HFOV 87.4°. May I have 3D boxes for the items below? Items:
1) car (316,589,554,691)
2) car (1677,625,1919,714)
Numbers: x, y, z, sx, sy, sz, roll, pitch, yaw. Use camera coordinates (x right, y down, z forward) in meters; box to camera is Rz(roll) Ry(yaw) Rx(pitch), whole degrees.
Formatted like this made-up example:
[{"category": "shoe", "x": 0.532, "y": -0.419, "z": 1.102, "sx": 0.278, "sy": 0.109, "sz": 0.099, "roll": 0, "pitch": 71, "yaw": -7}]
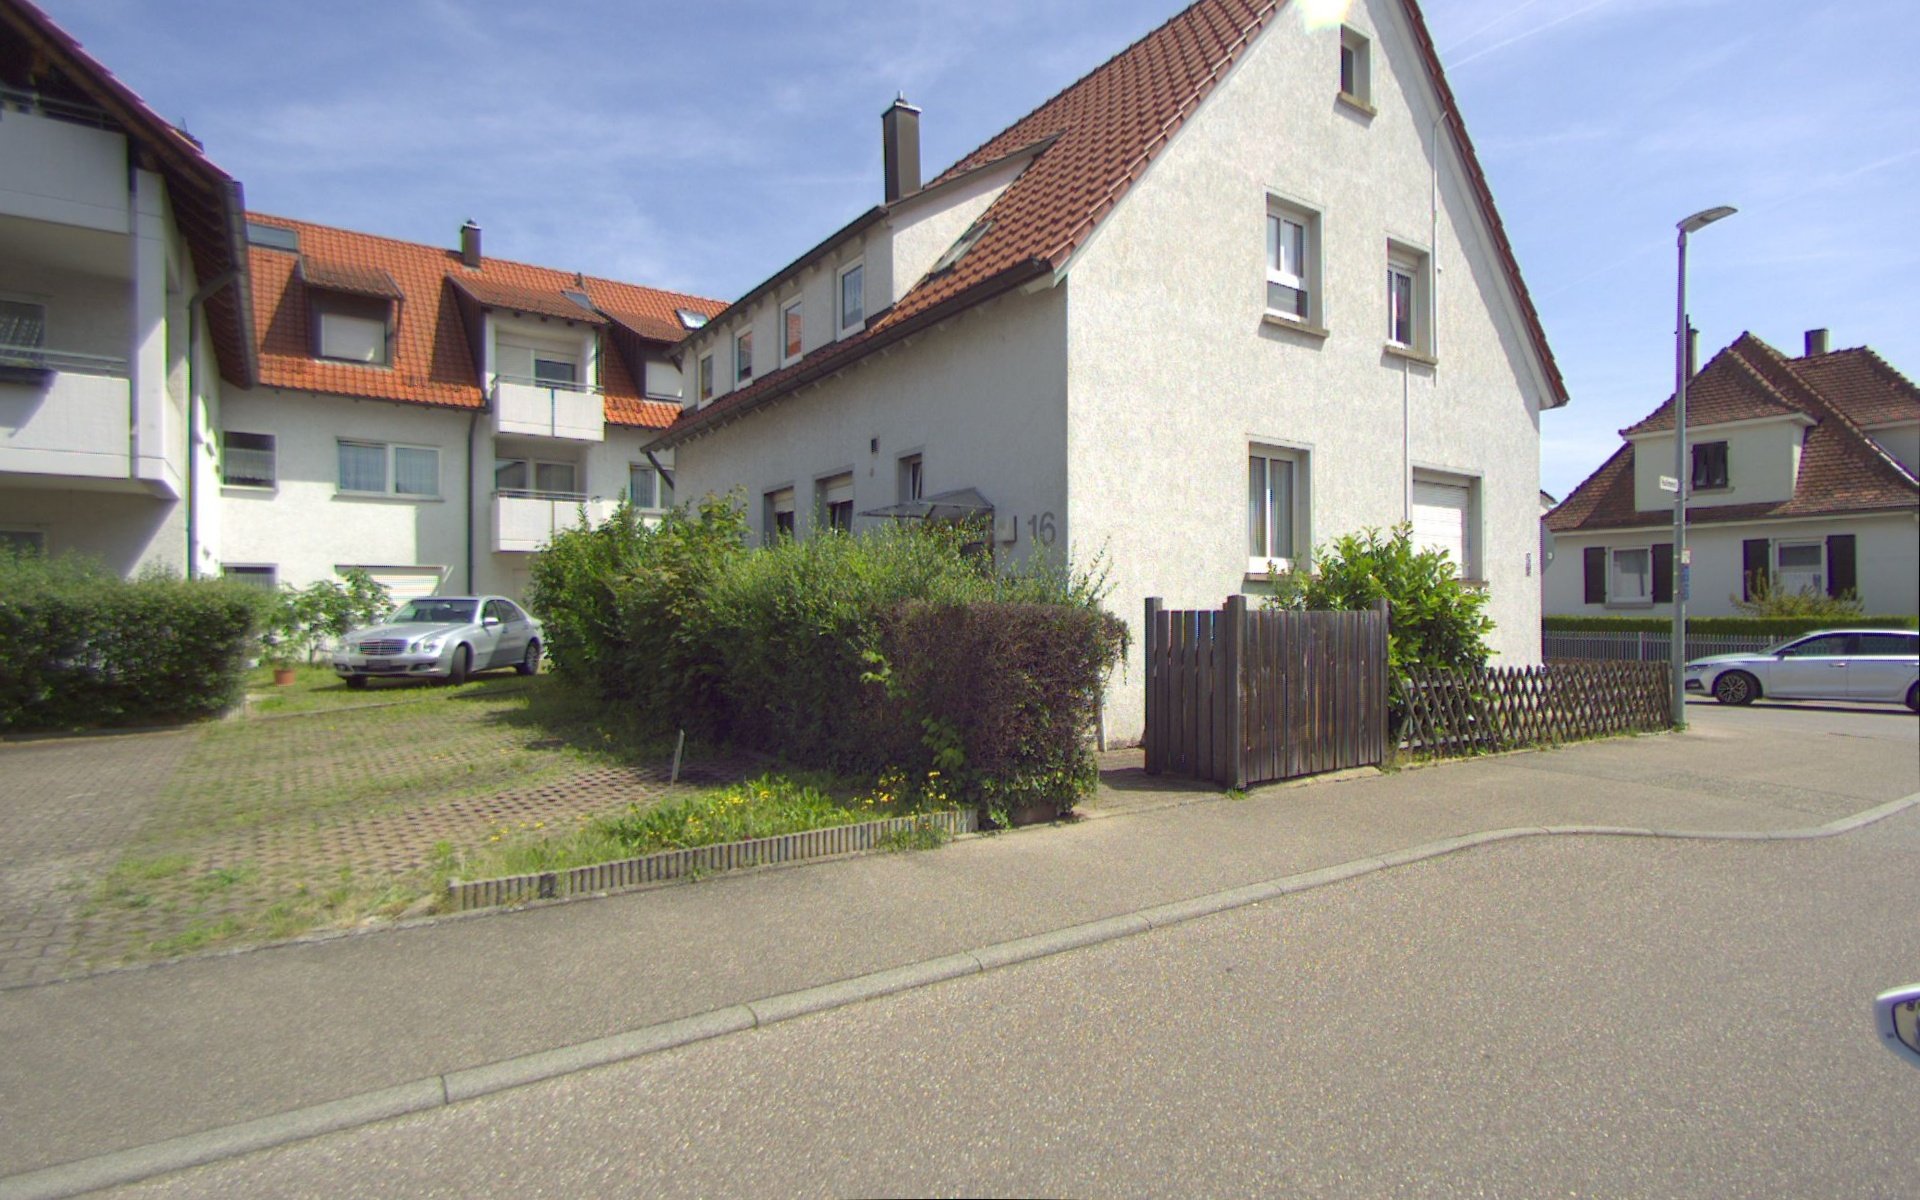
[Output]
[{"category": "car", "x": -8.620, "y": 0.626, "z": 16.983, "sx": 1.839, "sy": 1.491, "sz": 4.275, "roll": 1, "pitch": -1, "yaw": -2}, {"category": "car", "x": 15.835, "y": 1.218, "z": 18.260, "sx": 4.512, "sy": 1.457, "sz": 1.753, "roll": 0, "pitch": -1, "yaw": 36}]
